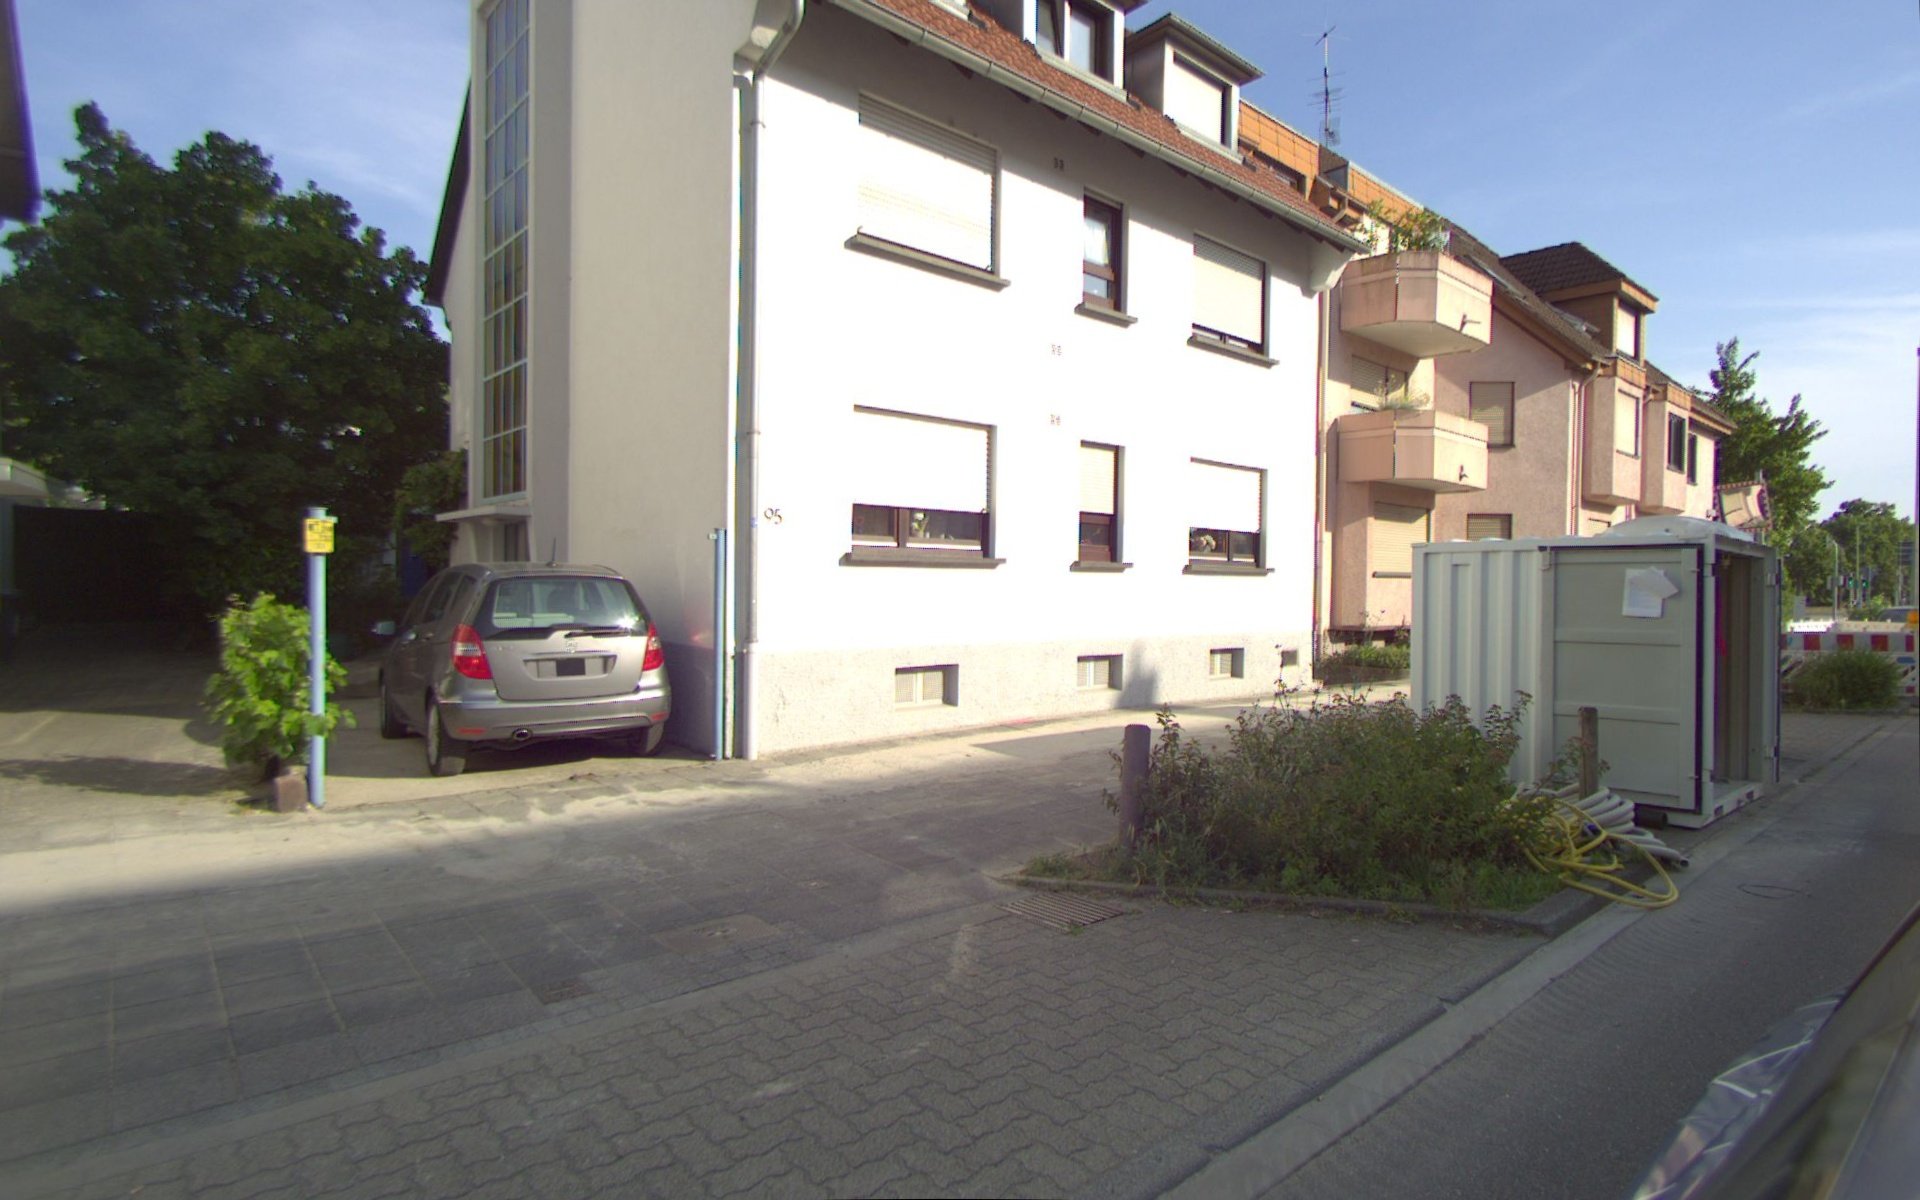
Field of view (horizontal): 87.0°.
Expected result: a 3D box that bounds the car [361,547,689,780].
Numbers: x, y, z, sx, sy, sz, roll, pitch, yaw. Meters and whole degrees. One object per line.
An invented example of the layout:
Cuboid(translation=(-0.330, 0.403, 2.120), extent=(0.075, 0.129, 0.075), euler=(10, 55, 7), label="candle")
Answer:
Cuboid(translation=(-3.980, 0.416, 8.915), extent=(1.762, 1.586, 3.750), euler=(0, 0, -38), label="car")

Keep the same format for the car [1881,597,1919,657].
Cuboid(translation=(24.623, 0.660, 25.799), extent=(1.631, 1.460, 3.355), euler=(0, 0, 43), label="car")
